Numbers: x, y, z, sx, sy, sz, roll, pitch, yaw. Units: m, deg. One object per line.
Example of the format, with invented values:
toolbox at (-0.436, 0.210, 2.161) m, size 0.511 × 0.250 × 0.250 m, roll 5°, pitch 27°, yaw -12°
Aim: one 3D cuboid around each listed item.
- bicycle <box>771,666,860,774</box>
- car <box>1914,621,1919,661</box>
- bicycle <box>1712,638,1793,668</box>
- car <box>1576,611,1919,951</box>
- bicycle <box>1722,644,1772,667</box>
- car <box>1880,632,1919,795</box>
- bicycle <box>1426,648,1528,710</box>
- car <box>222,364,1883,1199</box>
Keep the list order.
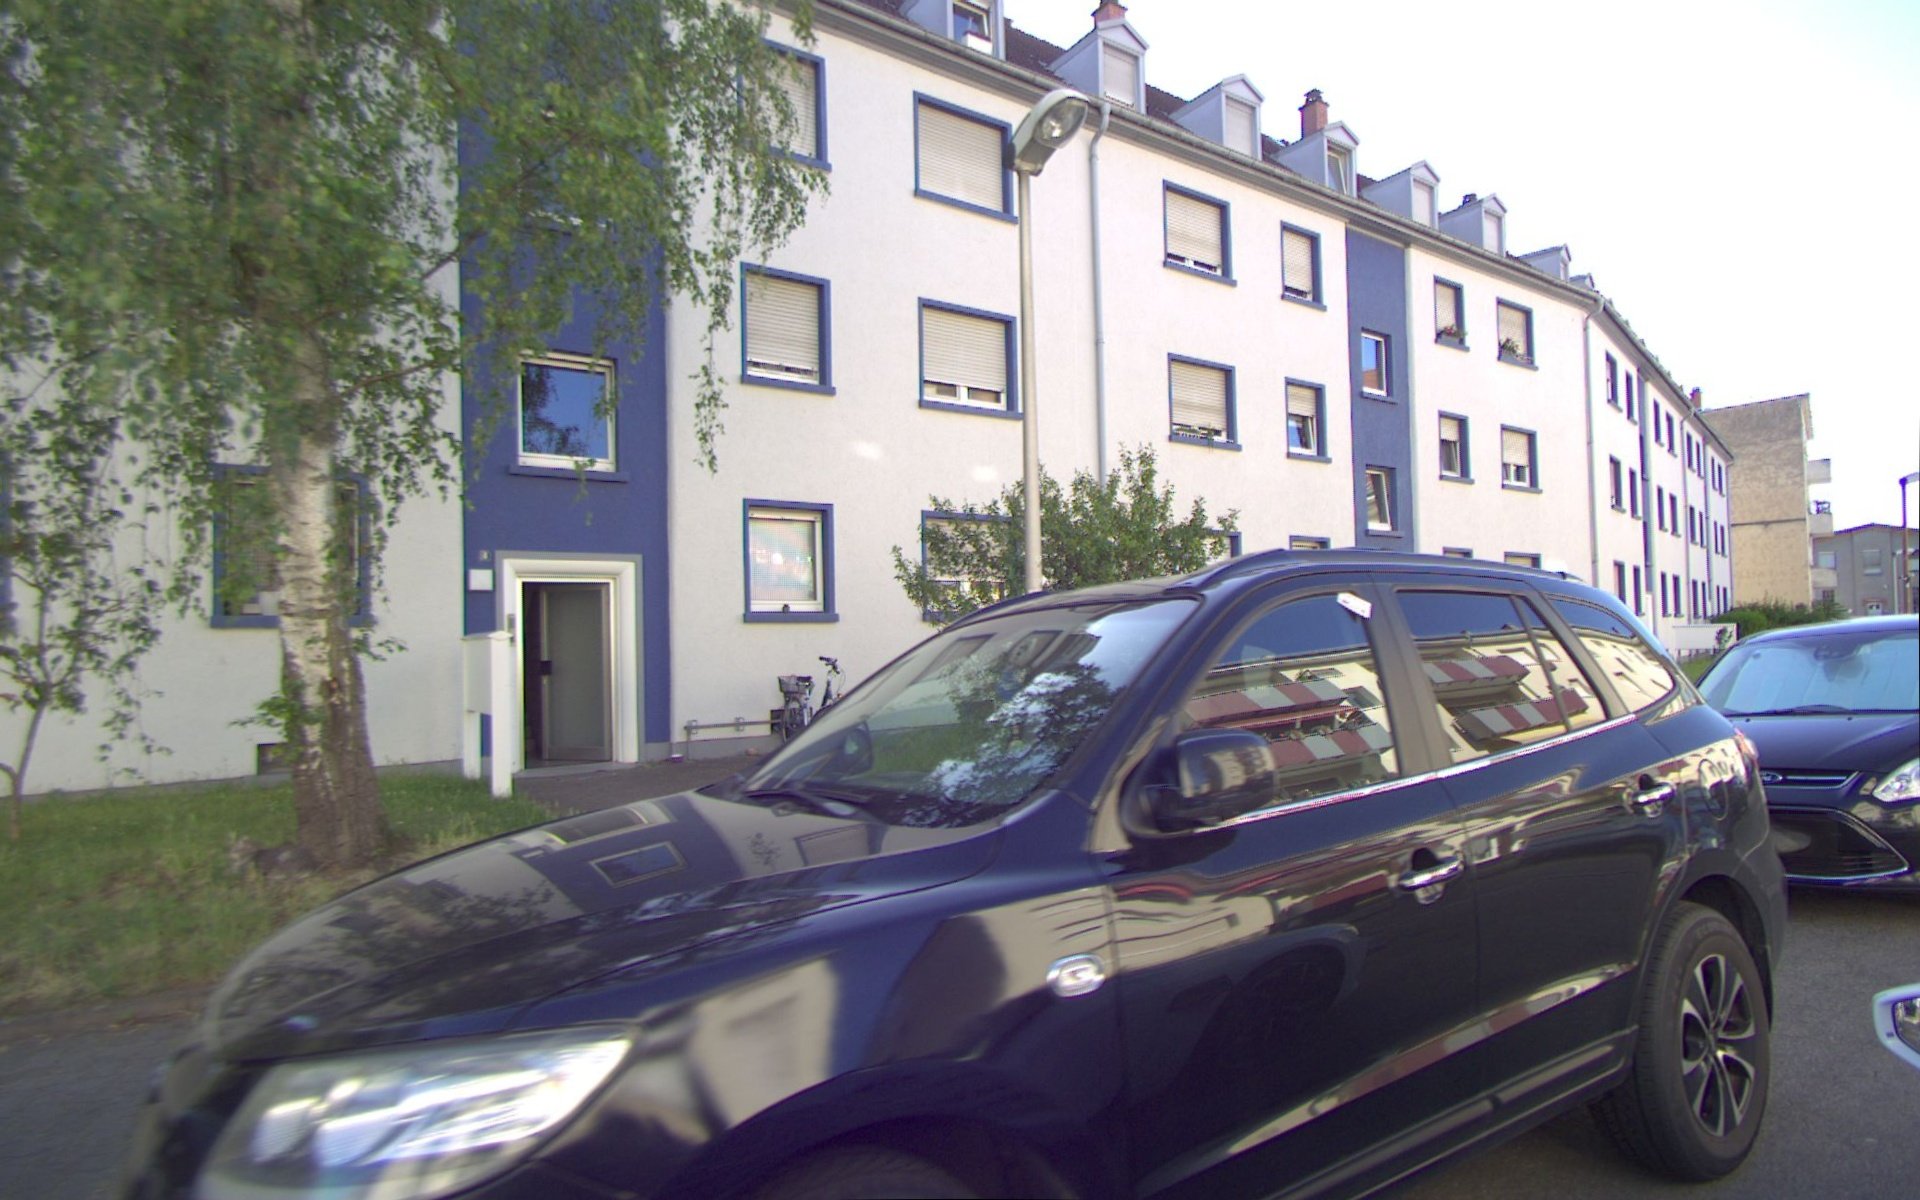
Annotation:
bicycle at (-1.697, 1.355, 11.644) m, size 0.411 × 1.167 × 1.399 m, roll 1°, pitch -4°, yaw -36°
car at (50.924, 2.105, 51.970) m, size 1.972 × 2.039 × 4.431 m, roll -5°, pitch -5°, yaw 41°
bicycle at (33.214, 2.220, 42.159) m, size 2.634 × 1.145 × 0.771 m, roll 0°, pitch -1°, yaw 36°
car at (5.843, 0.914, 6.364) m, size 4.114 × 1.580 × 1.684 m, roll 0°, pitch -6°, yaw -35°
bicycle at (34.731, 2.452, 44.356) m, size 1.630 × 0.948 × 0.544 m, roll -6°, pitch -6°, yaw 44°
car at (10.649, 1.009, 9.881) m, size 3.985 × 1.463 × 1.681 m, roll 1°, pitch -4°, yaw -39°
bicycle at (10.278, 1.549, 20.049) m, size 0.561 × 1.092 × 1.812 m, roll 0°, pitch 0°, yaw -29°
car at (0.704, 0.746, 2.757) m, size 4.290 × 1.736 × 1.548 m, roll 1°, pitch -6°, yaw -33°
